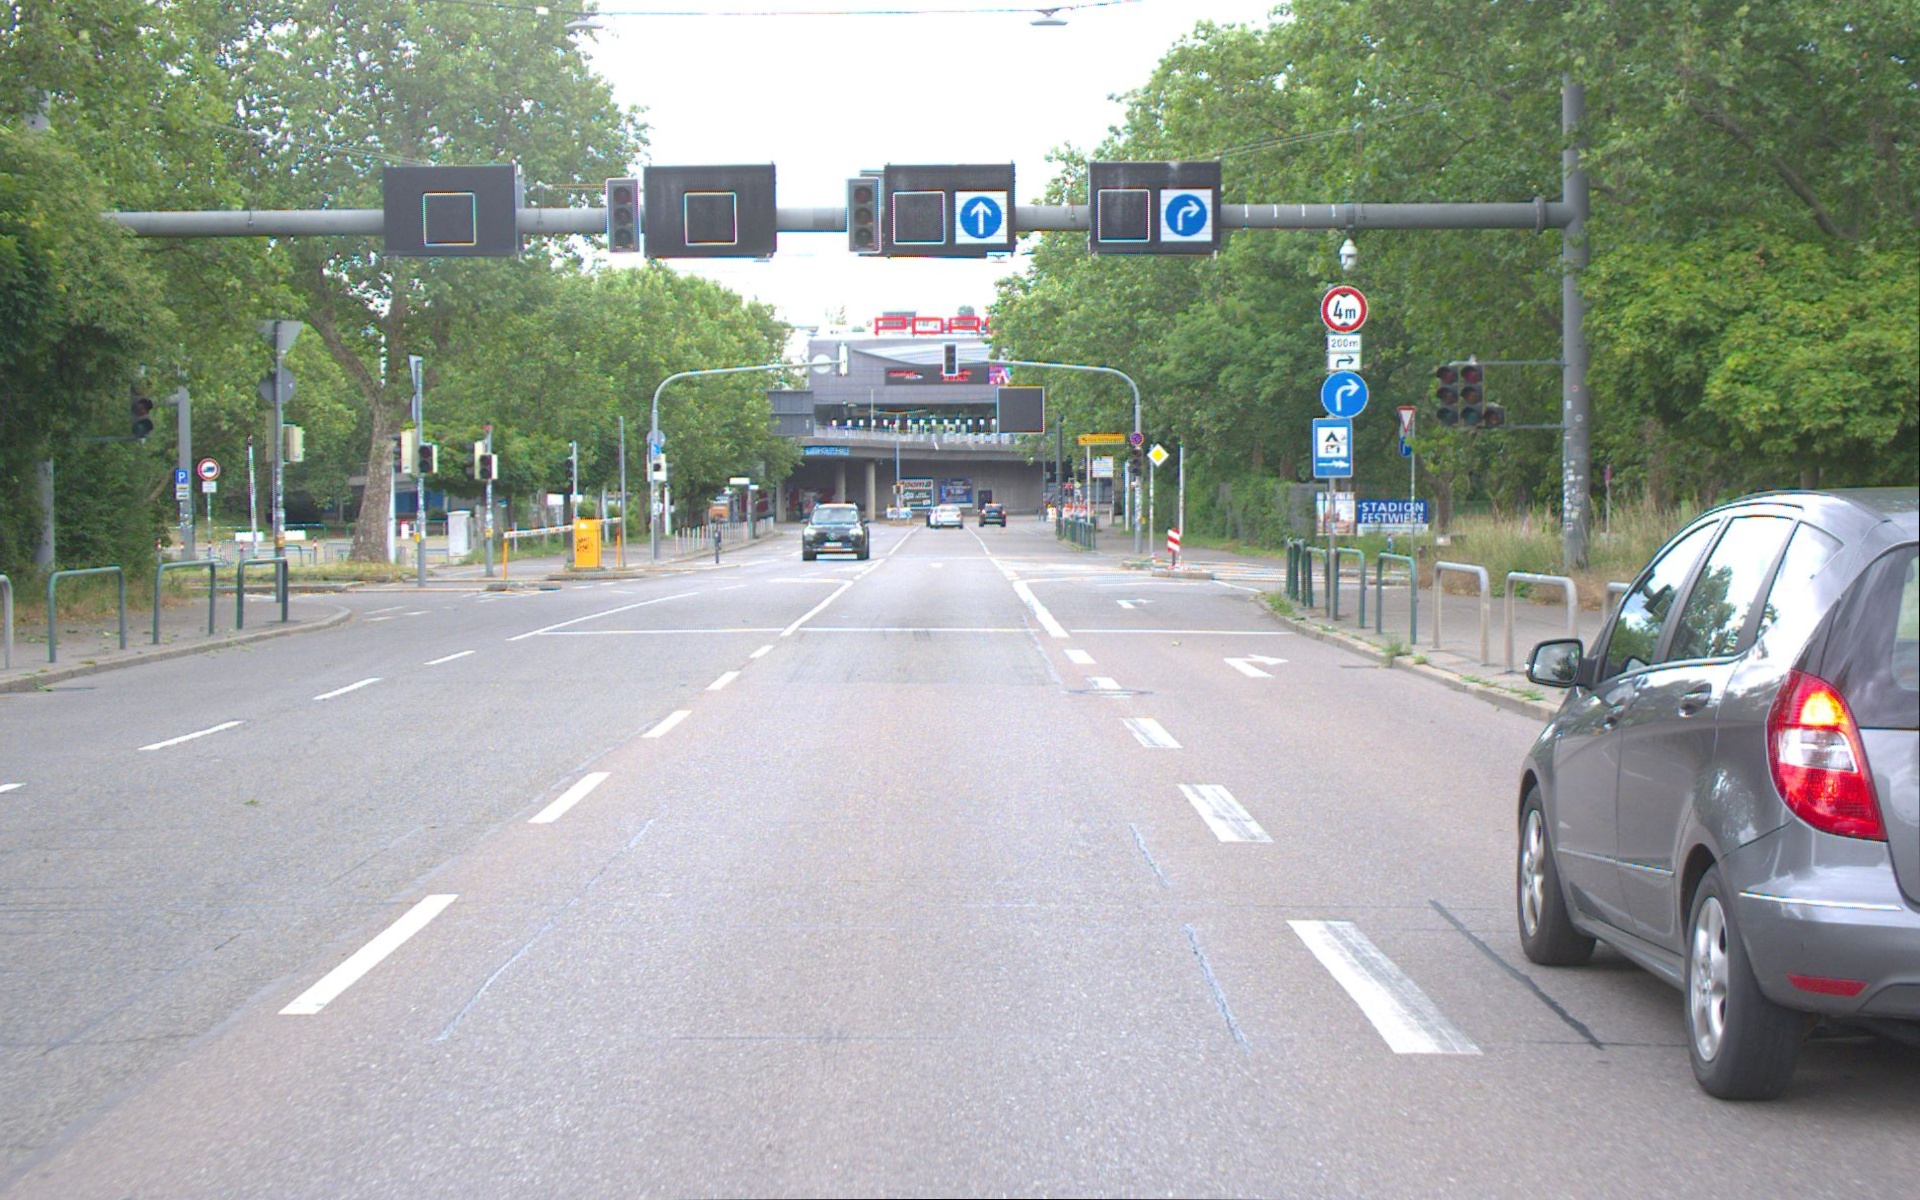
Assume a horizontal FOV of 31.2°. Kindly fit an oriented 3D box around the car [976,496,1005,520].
[{"bbox_3d":[2.213,-6.643,249.086,2.007,1.693,4.069,0,1,1],"label":"car"}]

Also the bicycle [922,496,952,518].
[{"bbox_3d":[-1.584,-6.336,234.835,1.993,1.503,4.000,0,2,-1],"label":"bicycle"}]

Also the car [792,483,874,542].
[{"bbox_3d":[-3.710,-2.570,101.204,1.994,1.654,4.517,-2,1,3],"label":"car"}]

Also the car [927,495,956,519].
[{"bbox_3d":[-1.177,-6.090,225.206,1.778,1.455,3.822,1,1,1],"label":"car"}]

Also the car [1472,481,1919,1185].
[{"bbox_3d":[2.697,0.473,9.941,1.826,1.610,4.034,0,2,0],"label":"car"}]
